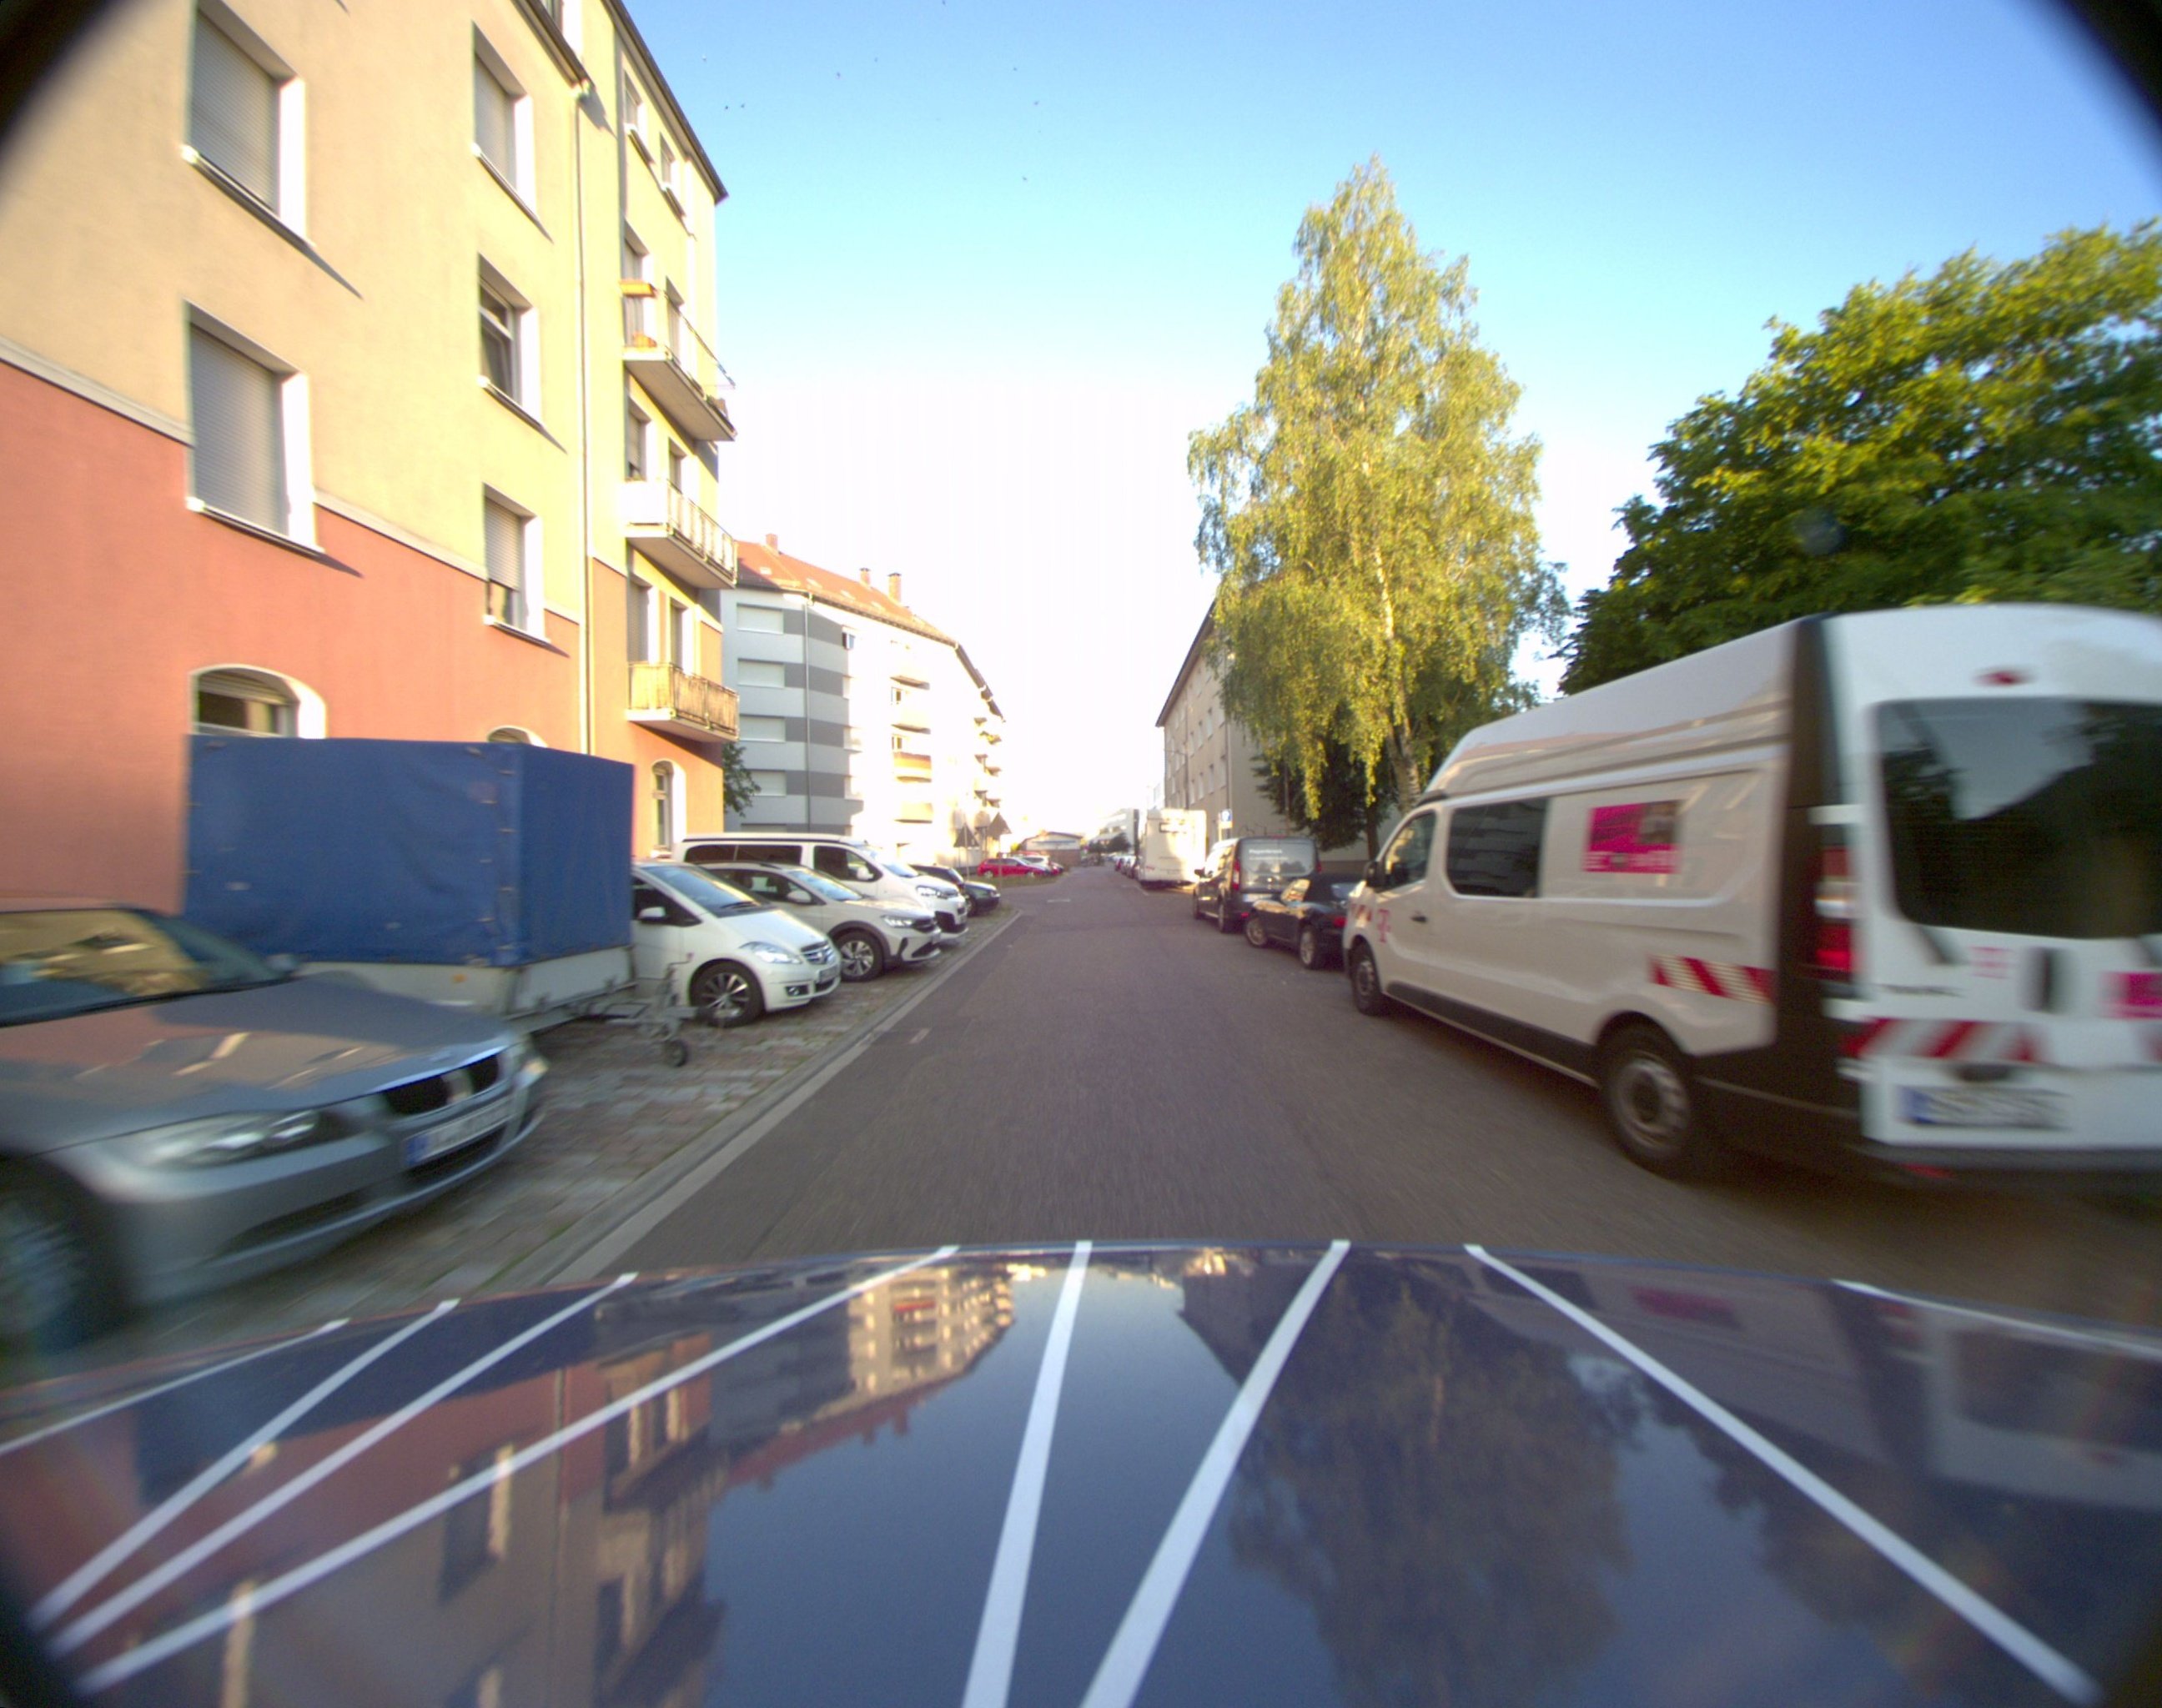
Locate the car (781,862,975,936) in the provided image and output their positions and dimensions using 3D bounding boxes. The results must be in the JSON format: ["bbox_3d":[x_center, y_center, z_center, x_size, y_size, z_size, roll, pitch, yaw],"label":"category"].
[{"bbox_3d":[-4.624,0.997,17.828,3.997,1.521,2.000,-1,0,-1],"label":"car"}]

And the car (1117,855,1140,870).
[{"bbox_3d":[4.794,0.843,77.220,1.999,1.481,4.431,-2,0,-1],"label":"car"}]

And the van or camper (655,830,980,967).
[{"bbox_3d":[-4.322,0.710,13.111,4.846,2.084,2.040,-1,0,0],"label":"van or camper"}]

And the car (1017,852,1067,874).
[{"bbox_3d":[-3.271,0.750,64.372,3.996,1.674,2.000,-1,0,4],"label":"car"}]

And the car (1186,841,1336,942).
[{"bbox_3d":[3.504,0.653,15.802,1.915,1.777,4.949,0,0,0],"label":"car"}]

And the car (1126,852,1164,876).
[{"bbox_3d":[4.139,0.616,49.827,1.999,1.436,4.431,-2,0,-1],"label":"car"}]

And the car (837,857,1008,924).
[{"bbox_3d":[-4.062,0.907,20.036,4.113,1.576,1.854,-1,0,-2],"label":"car"}]

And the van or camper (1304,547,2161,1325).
[{"bbox_3d":[3.477,0.251,5.437,1.998,2.442,6.083,-1,0,1],"label":"van or camper"}]

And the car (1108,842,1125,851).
[{"bbox_3d":[8.393,-1.735,181.046,3.997,2.002,2.000,-1,0,1],"label":"car"}]

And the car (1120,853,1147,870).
[{"bbox_3d":[4.557,0.655,66.520,1.999,1.436,4.431,-2,0,-1],"label":"car"}]

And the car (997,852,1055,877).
[{"bbox_3d":[-3.870,0.731,53.704,3.997,1.619,1.784,-1,0,-2],"label":"car"}]

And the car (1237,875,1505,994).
[{"bbox_3d":[3.752,0.973,10.726,1.999,1.182,4.034,-2,0,-4],"label":"car"}]

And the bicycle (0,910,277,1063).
[{"bbox_3d":[-8.608,1.120,6.924,0.517,1.054,1.904,-1,0,-1],"label":"bicycle"}]

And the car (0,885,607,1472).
[{"bbox_3d":[-4.576,1.030,3.121,3.998,1.628,1.903,-1,0,-2],"label":"car"}]

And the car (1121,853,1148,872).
[{"bbox_3d":[4.252,0.653,61.144,1.792,1.436,4.431,-2,0,-1],"label":"car"}]

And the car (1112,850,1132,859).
[{"bbox_3d":[8.567,0.115,157.909,3.996,1.739,2.000,-1,0,2],"label":"car"}]

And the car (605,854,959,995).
[{"bbox_3d":[-3.837,0.868,10.373,3.997,1.630,1.999,-1,1,-1],"label":"car"}]

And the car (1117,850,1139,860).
[{"bbox_3d":[8.830,0.121,141.768,3.996,1.805,2.000,-1,0,3],"label":"car"}]

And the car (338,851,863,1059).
[{"bbox_3d":[-4.537,0.894,7.745,3.997,1.718,1.999,-1,2,-1],"label":"car"}]

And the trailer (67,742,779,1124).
[{"bbox_3d":[-4.441,0.509,5.683,3.577,2.323,1.940,1,1,-2],"label":"trailer"}]

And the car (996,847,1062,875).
[{"bbox_3d":[-3.855,0.504,56.610,4.685,1.988,2.000,-1,0,2],"label":"car"}]

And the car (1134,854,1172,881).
[{"bbox_3d":[4.204,0.763,44.609,1.794,1.525,4.068,0,0,-1],"label":"car"}]

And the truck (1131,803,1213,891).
[{"bbox_3d":[3.771,-0.274,33.249,2.532,3.334,8.016,1,0,0],"label":"truck"}]

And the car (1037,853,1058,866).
[{"bbox_3d":[-4.347,0.702,97.943,2.000,1.481,4.427,-2,0,-11],"label":"car"}]

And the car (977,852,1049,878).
[{"bbox_3d":[-4.317,0.696,48.655,4.311,1.532,1.923,-1,0,2],"label":"car"}]

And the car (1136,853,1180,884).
[{"bbox_3d":[3.984,0.722,40.038,1.911,1.468,4.910,1,0,2],"label":"car"}]

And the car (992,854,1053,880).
[{"bbox_3d":[-3.910,0.841,51.266,3.997,1.652,2.000,-1,0,-1],"label":"car"}]
